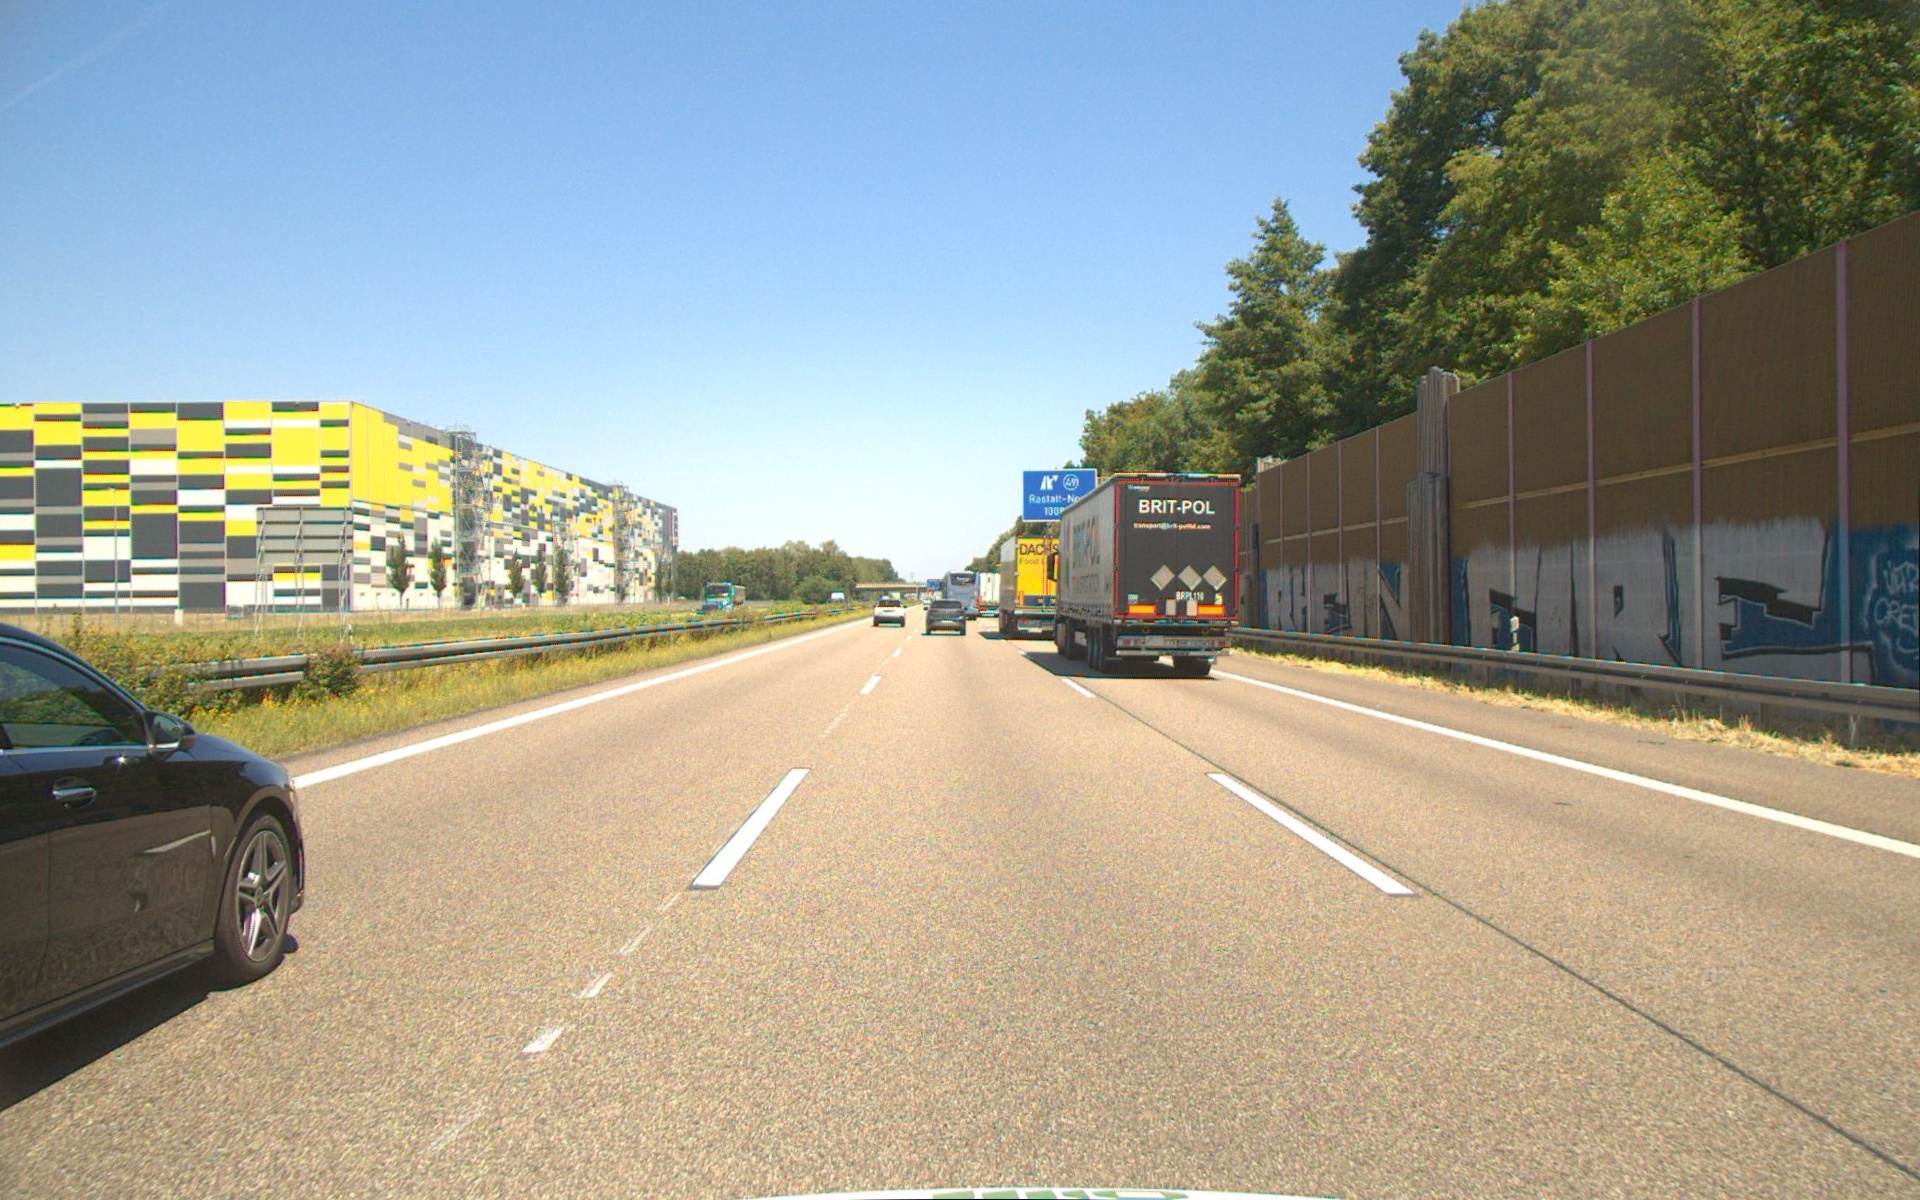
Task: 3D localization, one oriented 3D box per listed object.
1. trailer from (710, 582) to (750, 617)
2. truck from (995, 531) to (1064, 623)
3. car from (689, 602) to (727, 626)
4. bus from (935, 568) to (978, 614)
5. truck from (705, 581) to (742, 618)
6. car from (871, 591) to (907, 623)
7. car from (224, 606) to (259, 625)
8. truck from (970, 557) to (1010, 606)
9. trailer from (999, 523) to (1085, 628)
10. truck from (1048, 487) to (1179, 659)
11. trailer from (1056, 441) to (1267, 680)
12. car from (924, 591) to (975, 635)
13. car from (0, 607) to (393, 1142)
[{"bbox_3d":[-22.046,-0.015,158.701,2.621,3.294,9.257,0,0,-1],"label":"trailer"},{"bbox_3d":[3.137,-1.020,76.309,2.756,4.076,6.643,0,0,-1],"label":"truck"},{"bbox_3d":[-18.331,1.019,120.587,1.953,1.668,5.662,-1,0,-1],"label":"car"},{"bbox_3d":[-0.308,-0.695,127.214,3.001,3.385,8.270,-1,0,-2],"label":"bus"},{"bbox_3d":[-22.004,-0.035,153.853,2.643,3.307,5.837,0,0,-1],"label":"truck"},{"bbox_3d":[-3.929,0.369,92.372,1.953,1.758,4.129,0,0,-2],"label":"car"},{"bbox_3d":[-68.537,1.461,157.769,1.650,1.757,4.110,-1,0,-2],"label":"car"},{"bbox_3d":[2.654,-1.646,149.701,3.352,4.198,9.564,-1,0,0],"label":"truck"},{"bbox_3d":[3.287,-0.968,69.169,2.777,4.023,11.681,0,0,-1],"label":"trailer"},{"bbox_3d":[4.245,-0.692,46.959,3.024,4.518,6.051,1,0,-1],"label":"truck"},{"bbox_3d":[4.340,-0.742,39.534,3.043,4.585,14.893,1,0,-1],"label":"trailer"},{"bbox_3d":[-0.500,0.542,73.019,2.171,1.821,5.392,-1,0,-1],"label":"car"},{"bbox_3d":[-3.496,0.755,5.648,1.755,1.436,4.052,0,0,-1],"label":"car"}]
